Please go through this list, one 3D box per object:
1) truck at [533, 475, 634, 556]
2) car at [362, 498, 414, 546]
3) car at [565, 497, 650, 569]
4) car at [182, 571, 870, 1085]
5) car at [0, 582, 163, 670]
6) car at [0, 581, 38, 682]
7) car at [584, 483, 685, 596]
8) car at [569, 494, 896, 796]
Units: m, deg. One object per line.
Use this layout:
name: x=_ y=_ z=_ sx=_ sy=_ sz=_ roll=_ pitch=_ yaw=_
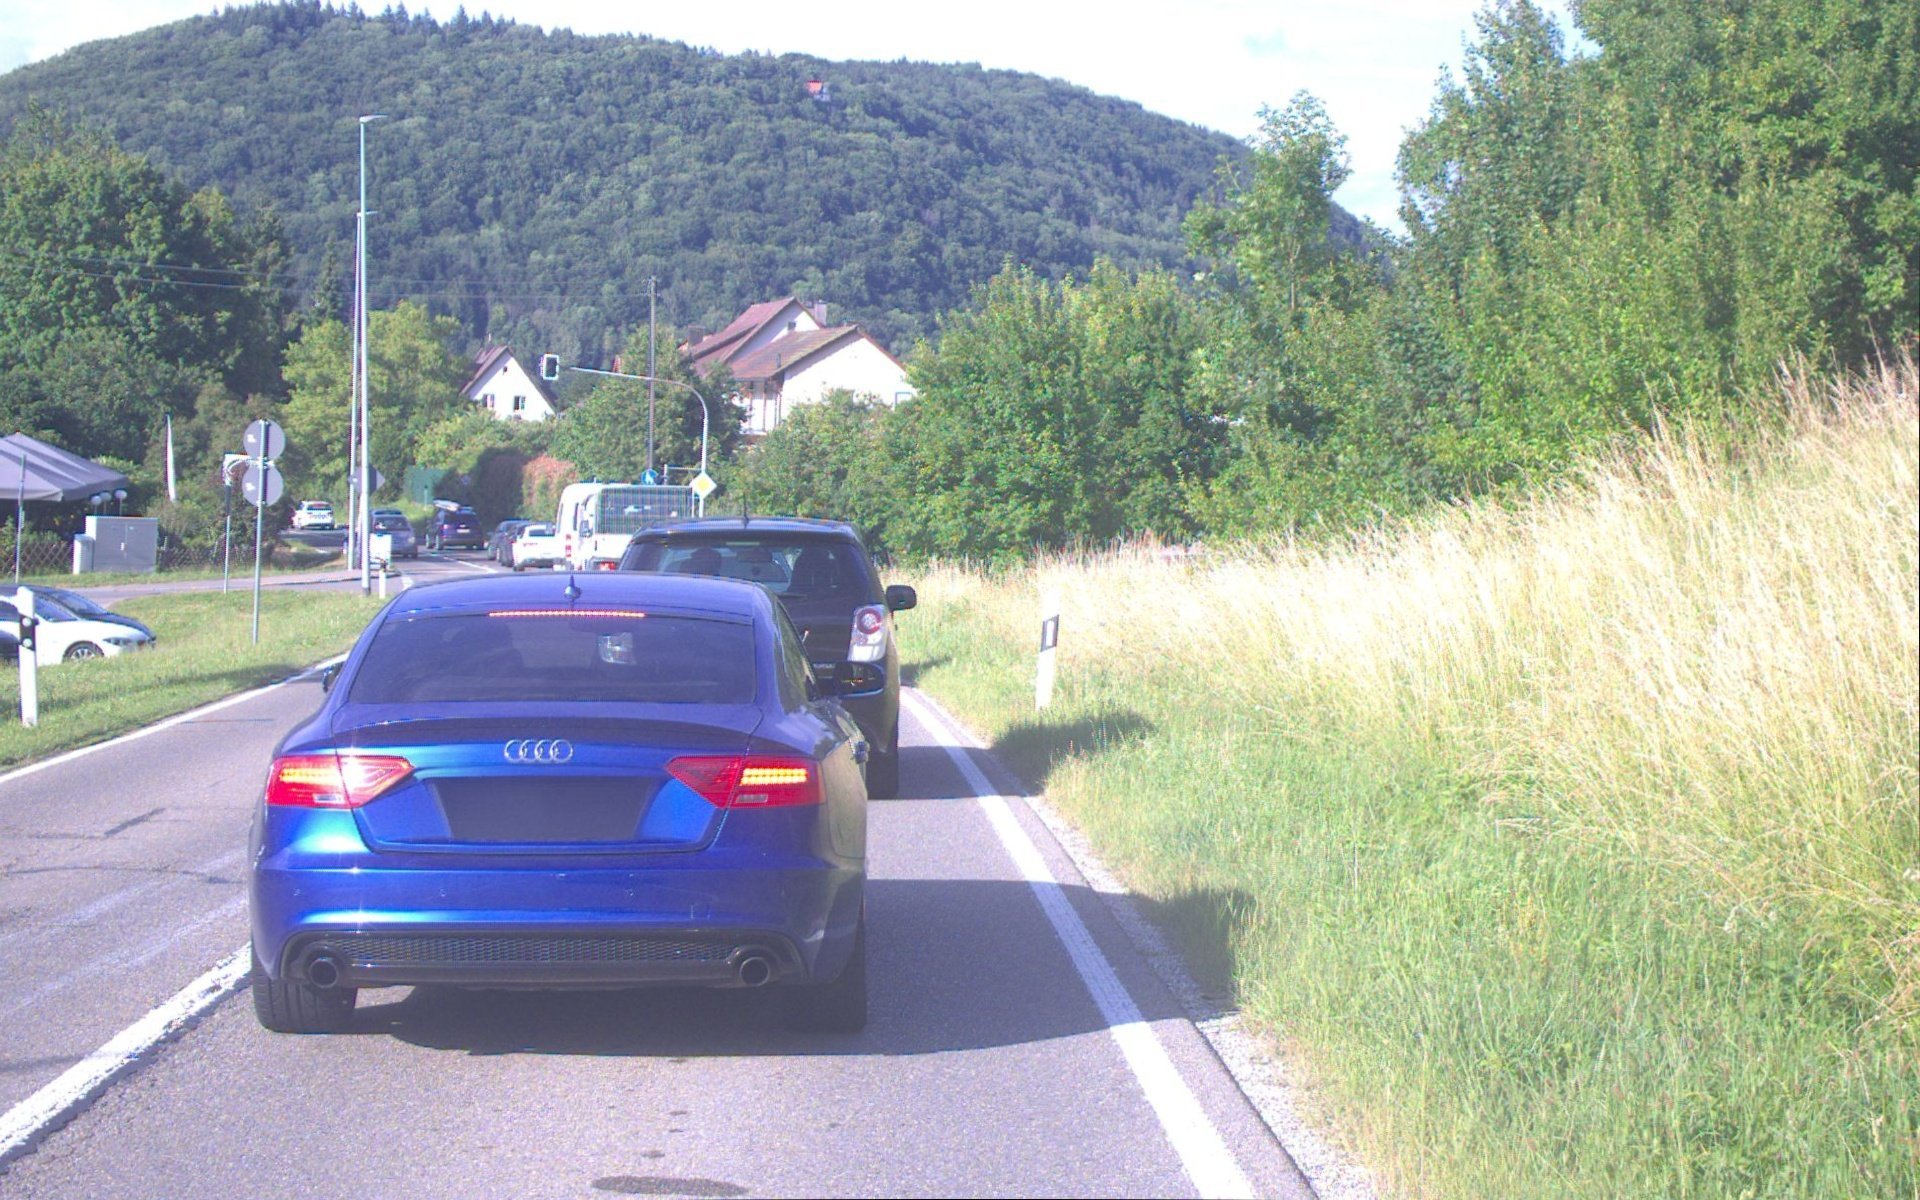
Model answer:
truck: x=-9.534 y=-2.106 z=86.727 sx=1.697 sy=1.947 sz=5.924 roll=1 pitch=1 yaw=-14
car: x=-20.566 y=-2.783 z=123.479 sx=1.734 sy=1.656 sz=3.472 roll=1 pitch=1 yaw=-11
car: x=-8.391 y=-1.573 z=81.597 sx=1.745 sy=1.634 sz=4.001 roll=1 pitch=1 yaw=-9
car: x=-1.226 y=0.599 z=11.302 sx=1.795 sy=1.383 sz=4.000 roll=0 pitch=1 yaw=-1
car: x=-16.883 y=0.434 z=61.375 sx=4.815 sy=1.488 sz=1.880 roll=1 pitch=0 yaw=7
car: x=-17.575 y=0.482 z=56.831 sx=4.026 sy=1.631 sz=1.999 roll=1 pitch=0 yaw=7
car: x=-6.570 y=-1.207 z=69.148 sx=1.745 sy=2.188 sz=4.001 roll=1 pitch=1 yaw=-9
car: x=-1.290 y=0.229 z=20.898 sx=1.746 sy=1.634 sz=4.000 roll=1 pitch=1 yaw=-1
